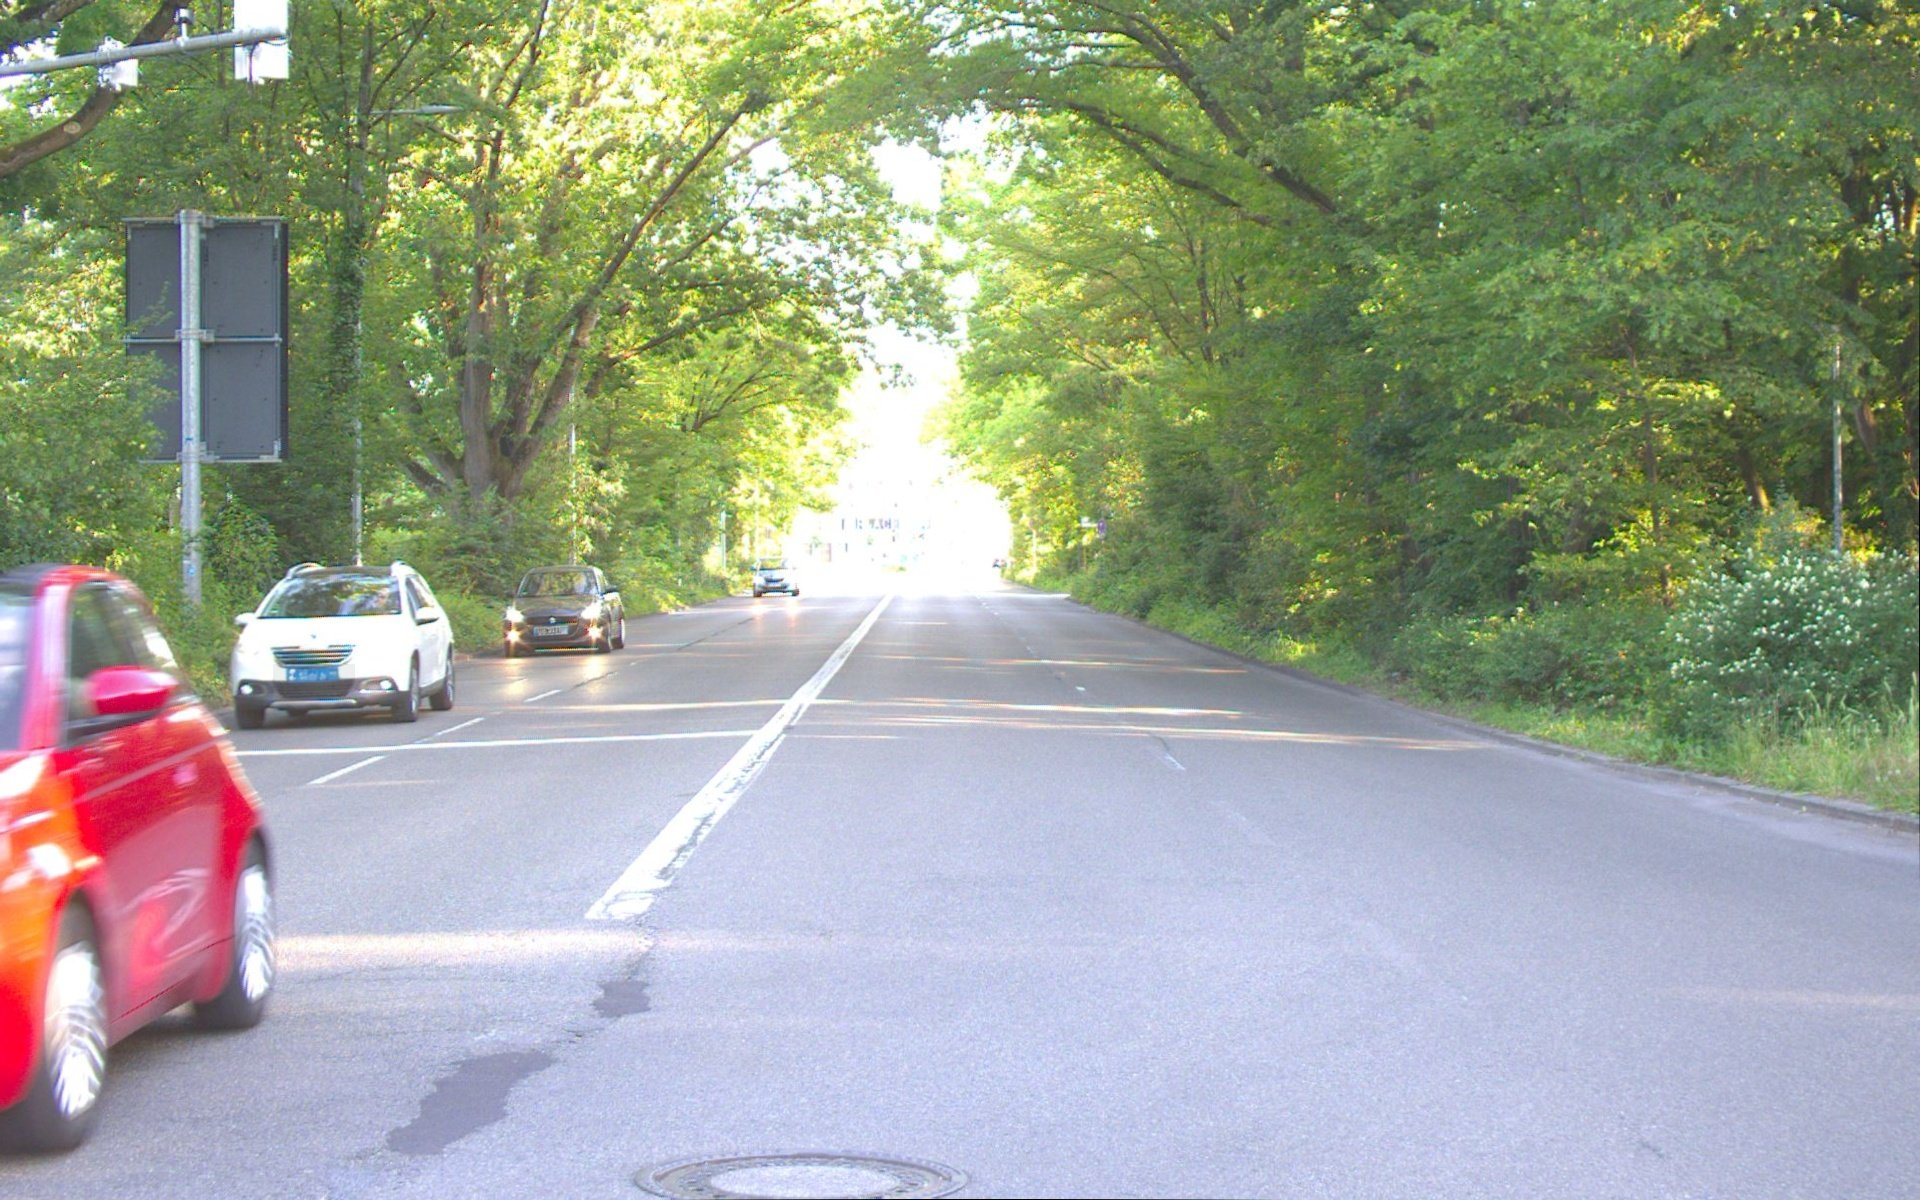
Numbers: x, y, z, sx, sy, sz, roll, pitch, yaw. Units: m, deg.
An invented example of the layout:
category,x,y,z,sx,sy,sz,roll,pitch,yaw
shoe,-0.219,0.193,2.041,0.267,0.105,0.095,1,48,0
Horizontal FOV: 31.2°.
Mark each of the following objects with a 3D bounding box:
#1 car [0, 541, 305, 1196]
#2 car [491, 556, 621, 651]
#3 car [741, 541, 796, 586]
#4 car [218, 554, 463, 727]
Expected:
category,x,y,z,sx,sy,sz,roll,pitch,yaw
car,-3.026,0.630,9.408,1.750,1.451,3.640,-2,0,-1
car,-6.684,0.027,57.140,1.707,1.448,3.640,-2,1,-1
car,-7.140,-1.377,128.591,1.806,1.574,4.319,-2,1,-1
car,-6.010,0.348,33.749,1.677,1.518,3.902,-2,1,-1
